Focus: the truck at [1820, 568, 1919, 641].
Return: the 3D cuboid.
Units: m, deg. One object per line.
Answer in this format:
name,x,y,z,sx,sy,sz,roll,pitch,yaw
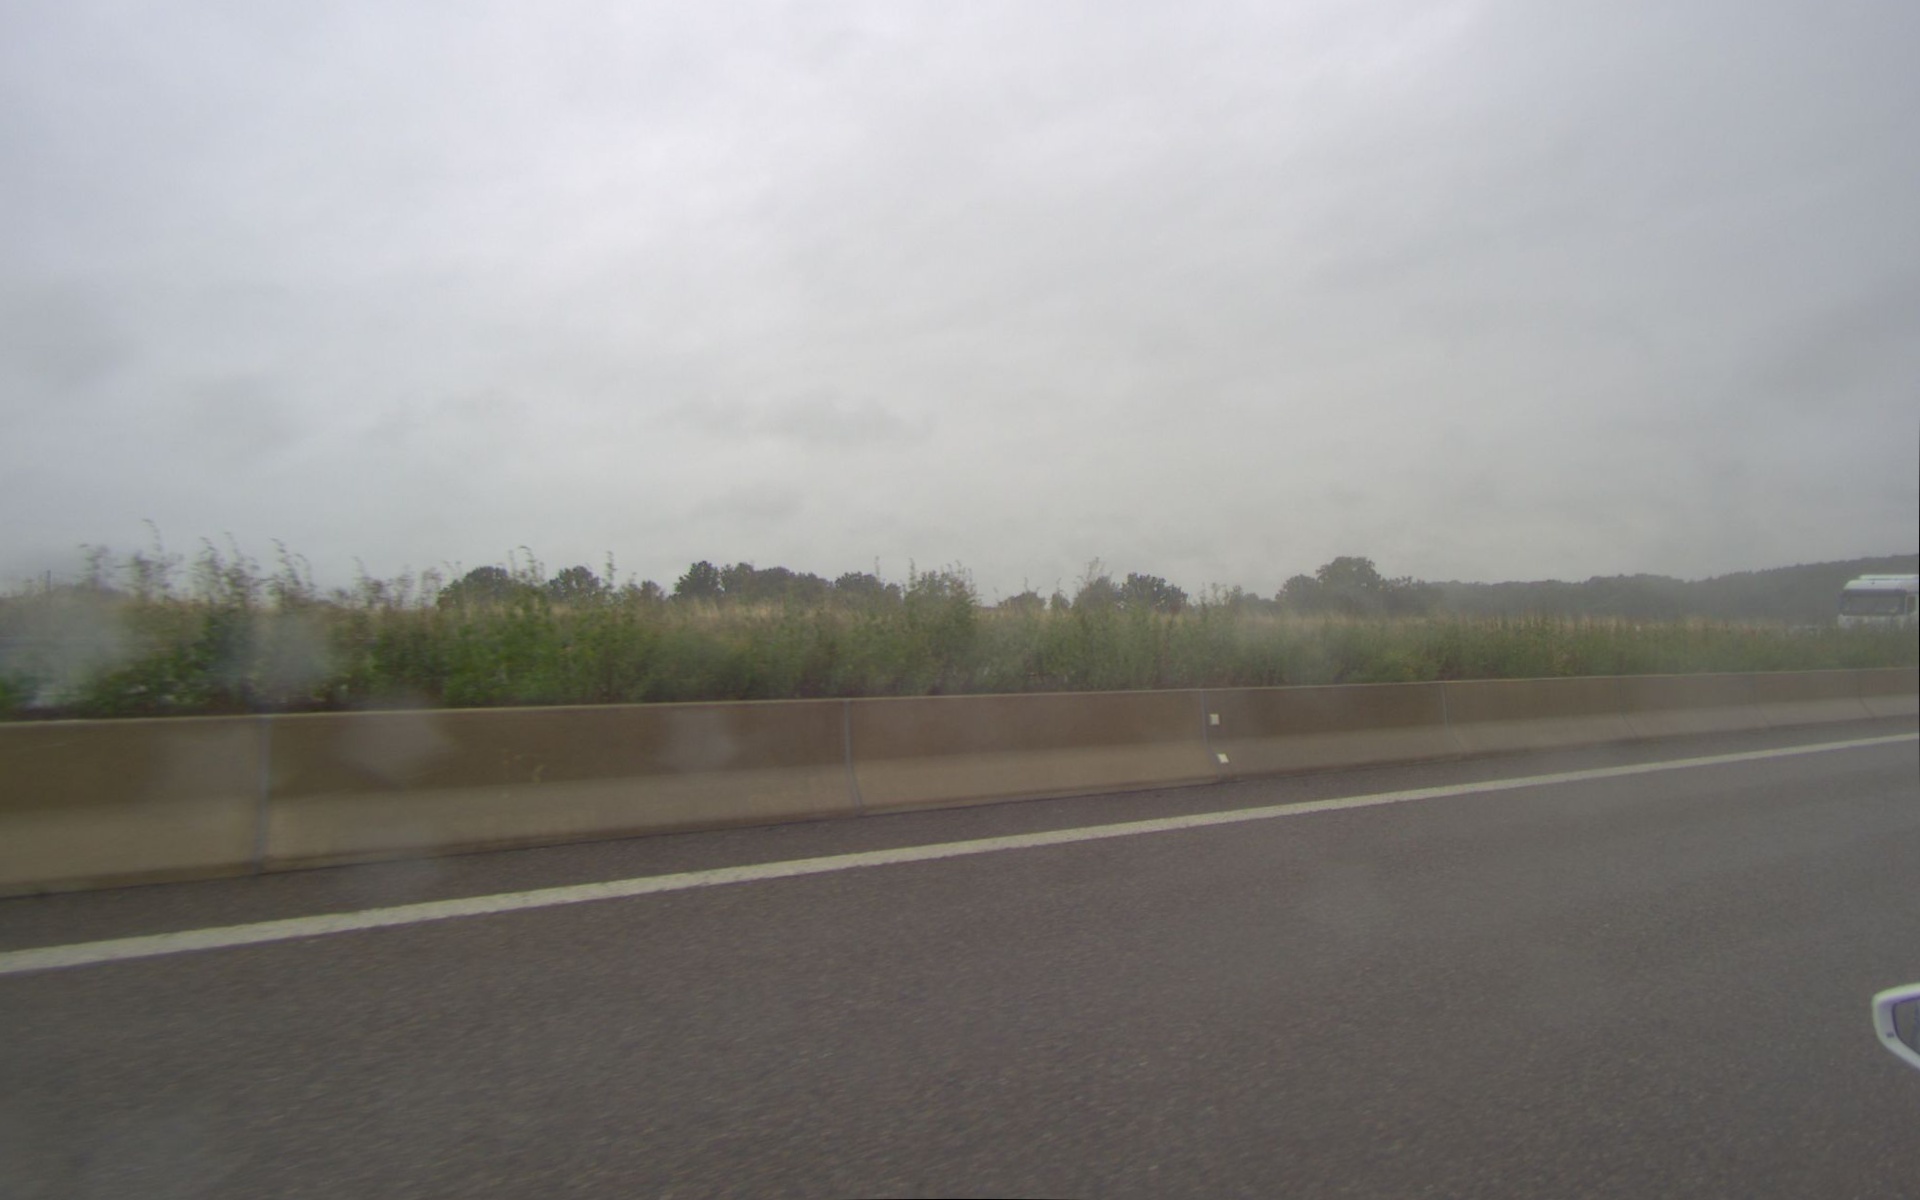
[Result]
truck,43.182,0.253,46.807,5.529,3.165,2.979,1,0,-29
